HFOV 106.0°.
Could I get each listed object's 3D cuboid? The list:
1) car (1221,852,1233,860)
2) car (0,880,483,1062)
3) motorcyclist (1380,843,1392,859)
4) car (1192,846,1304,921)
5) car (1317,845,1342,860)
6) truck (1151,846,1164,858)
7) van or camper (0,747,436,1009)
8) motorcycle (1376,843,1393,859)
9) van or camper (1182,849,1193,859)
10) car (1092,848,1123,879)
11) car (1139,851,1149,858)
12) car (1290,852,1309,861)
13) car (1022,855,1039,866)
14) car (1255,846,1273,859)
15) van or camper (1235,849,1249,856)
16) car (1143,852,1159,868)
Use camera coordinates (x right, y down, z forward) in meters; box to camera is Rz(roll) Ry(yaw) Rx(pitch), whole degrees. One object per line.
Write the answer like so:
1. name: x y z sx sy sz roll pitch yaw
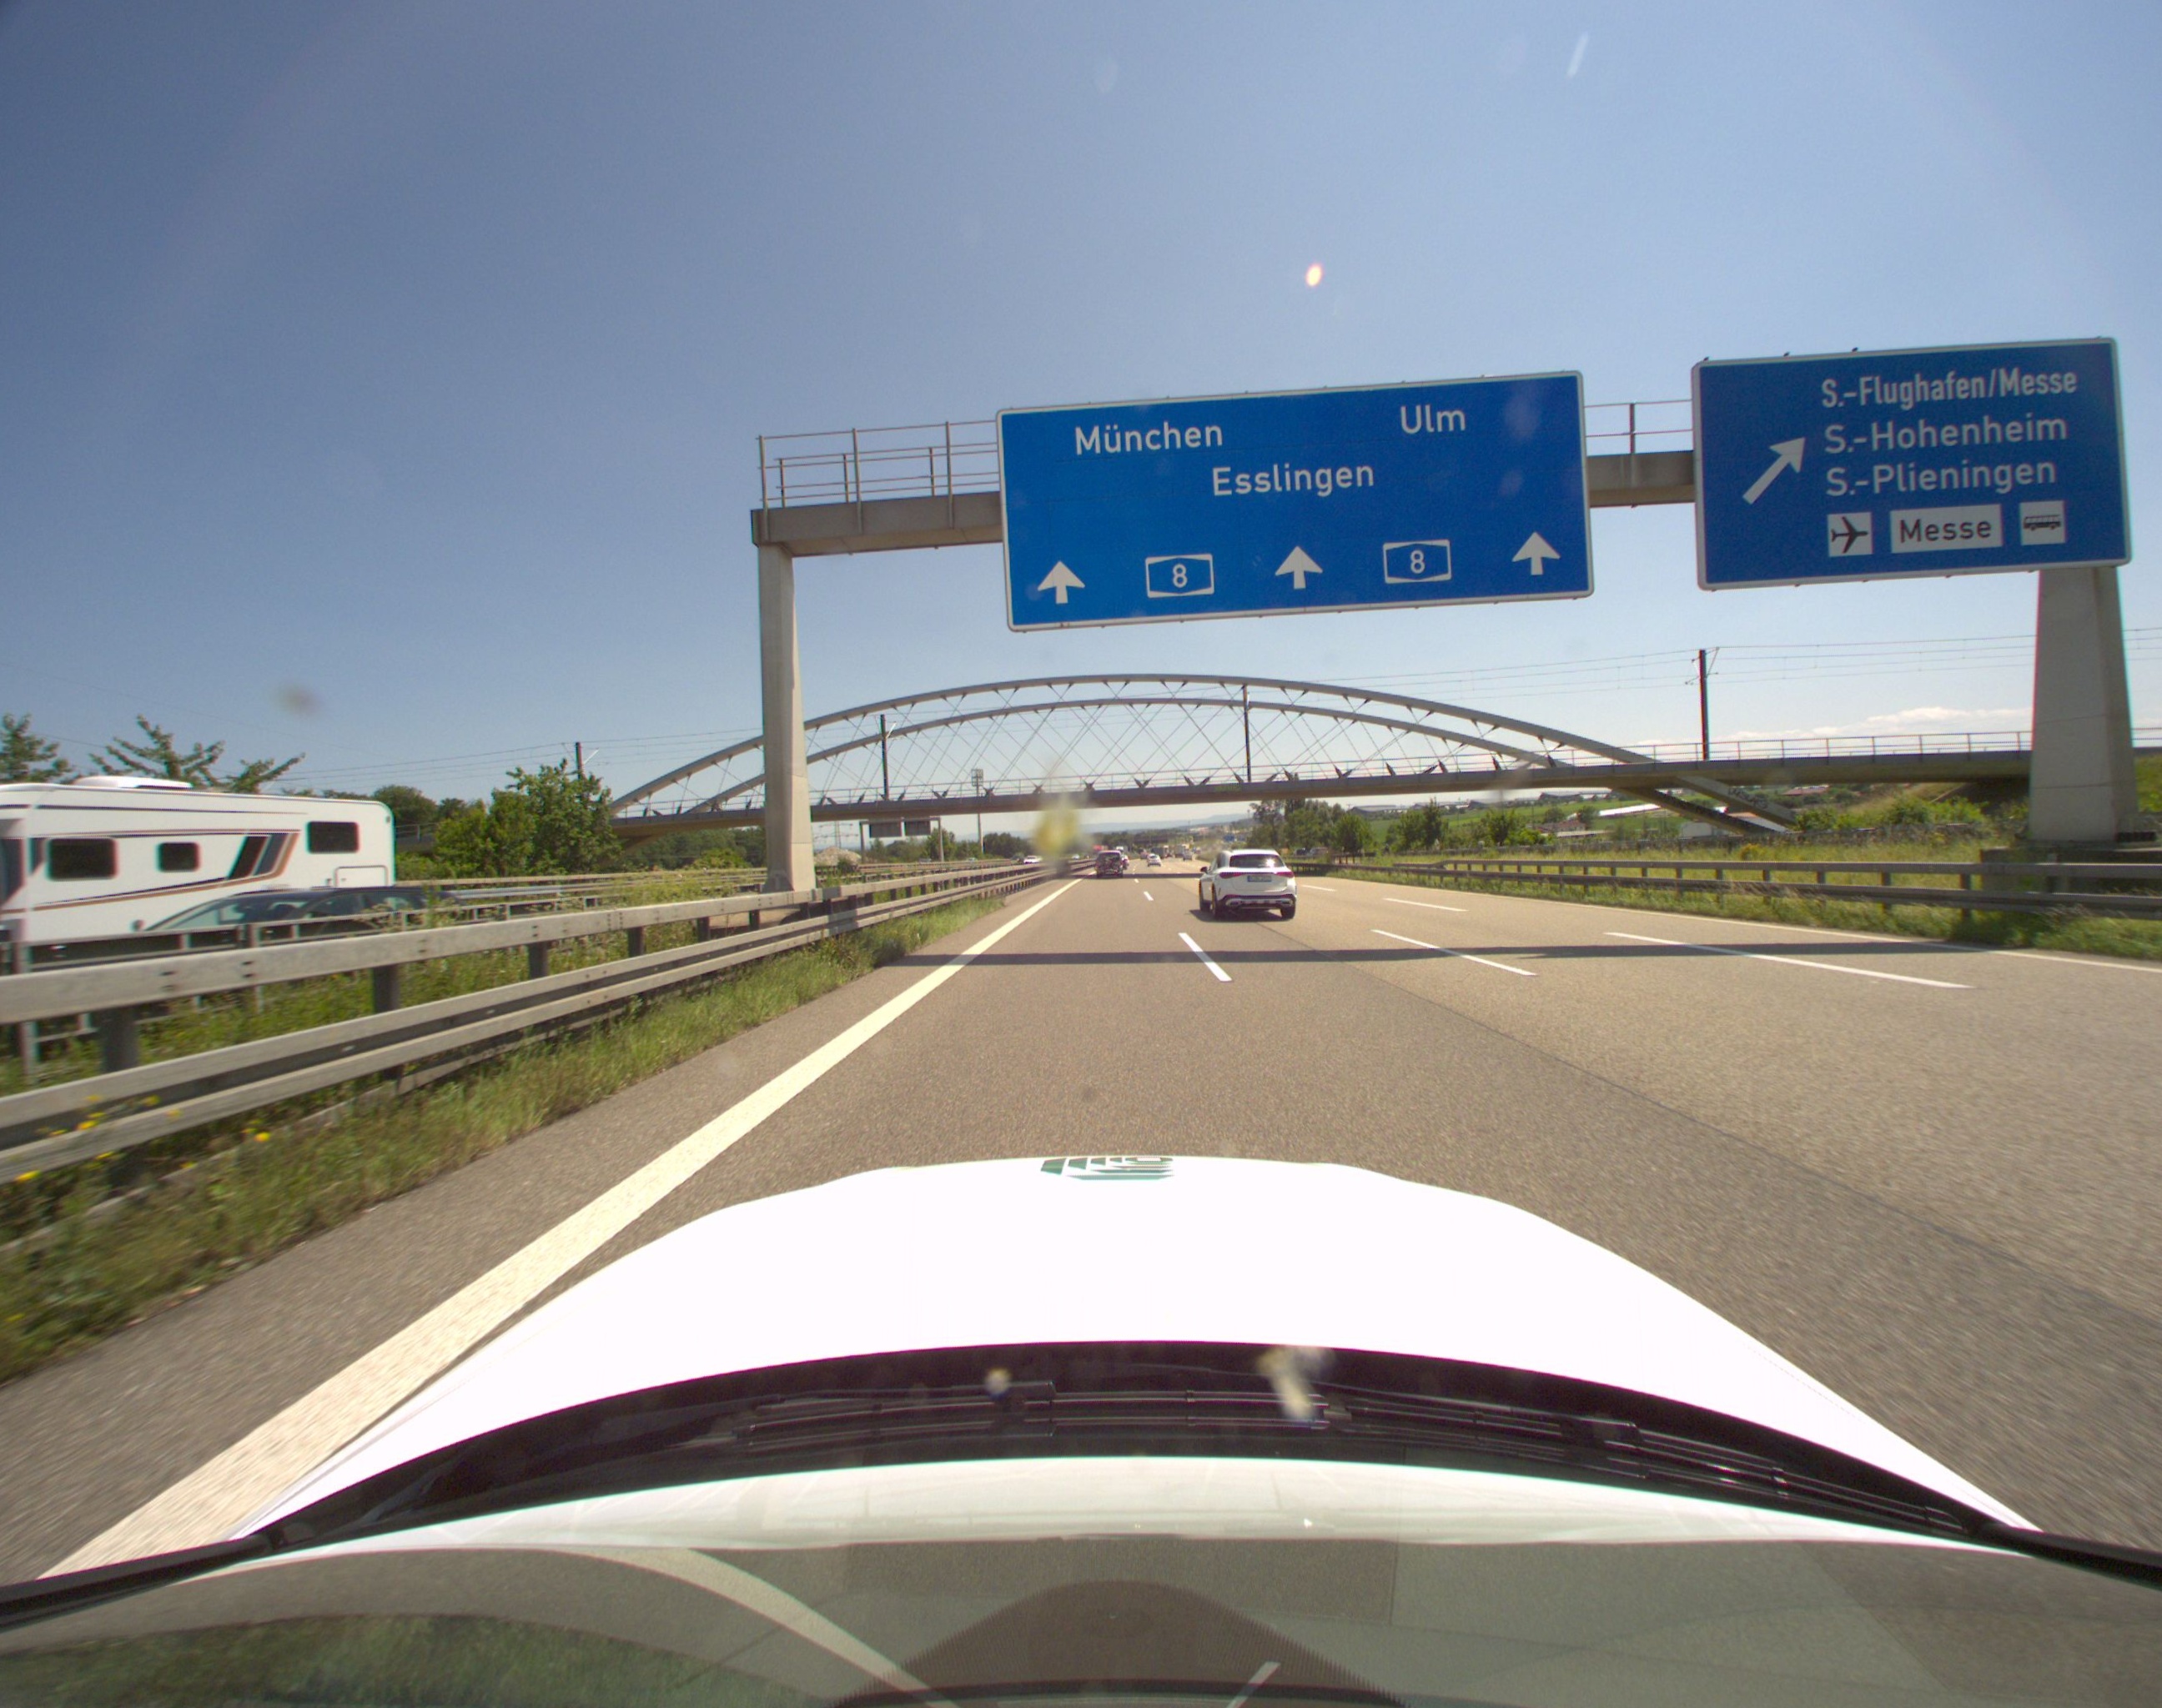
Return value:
1. car: 36.457 0.482 203.475 1.988 2.014 3.998 -1 0 -1
2. car: -9.169 1.089 9.165 1.592 1.415 4.266 -1 0 2
3. motorcyclist: 25.888 -0.259 69.162 0.666 1.366 0.879 -1 -1 2
4. car: 4.062 0.680 20.634 1.891 1.647 4.999 -1 0 1
5. car: 27.390 -0.137 89.898 1.692 1.575 4.132 -1 0 4
6. truck: 20.437 -0.485 218.469 2.693 3.109 10.661 -1 0 1
7. van or camper: -13.875 0.309 11.715 2.435 3.087 8.126 -1 0 2
8. motorcycle: 25.814 -0.263 69.258 0.757 1.366 1.870 -1 0 1
9. van or camper: 23.212 0.051 177.795 2.145 2.014 4.311 -1 0 6
10. car: 1.819 0.615 54.383 1.918 1.919 4.952 -1 0 3
11. car: 16.661 0.118 215.602 2.179 2.003 3.999 -1 0 0
12. car: 31.424 0.402 117.047 1.693 1.277 4.001 -1 0 1
13. car: -7.481 0.959 120.413 1.920 1.639 4.981 -1 0 3
14. car: 29.655 -0.221 132.026 1.932 1.923 4.180 -1 0 1
15. van or camper: 43.144 -0.399 218.557 2.527 2.014 4.448 -1 0 -8
16. car: 9.076 0.764 105.898 1.918 1.919 4.521 -1 0 3
